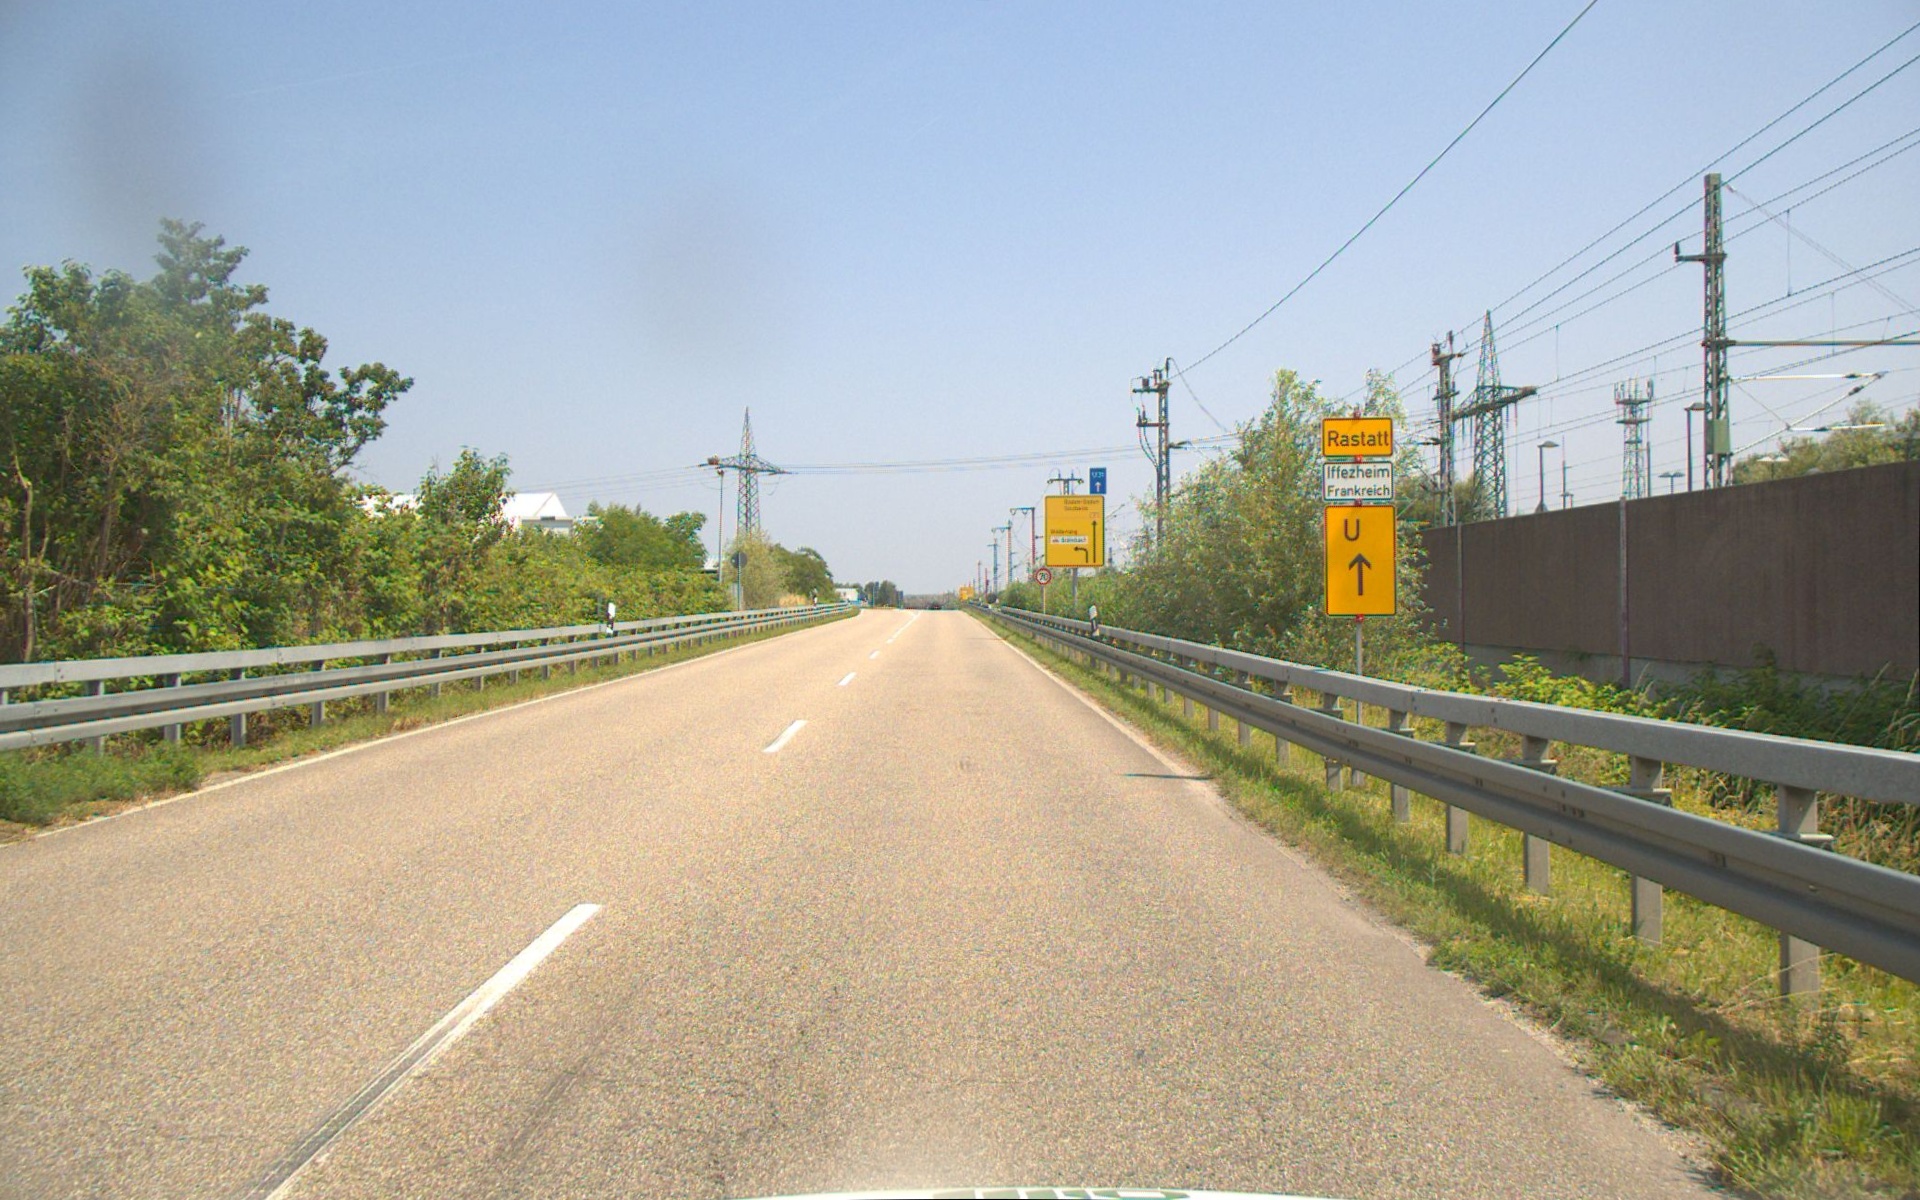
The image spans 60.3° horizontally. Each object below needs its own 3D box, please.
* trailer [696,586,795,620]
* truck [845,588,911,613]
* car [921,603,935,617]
[{"bbox_3d":[-11.936,0.158,92.359,5.277,1.881,2.543,0,0,-2],"label":"trailer"},{"bbox_3d":[-12.868,0.079,258.242,10.208,3.695,2.843,1,0,-4],"label":"truck"},{"bbox_3d":[-4.961,1.483,254.661,1.954,2.049,3.996,0,0,-5],"label":"car"}]
